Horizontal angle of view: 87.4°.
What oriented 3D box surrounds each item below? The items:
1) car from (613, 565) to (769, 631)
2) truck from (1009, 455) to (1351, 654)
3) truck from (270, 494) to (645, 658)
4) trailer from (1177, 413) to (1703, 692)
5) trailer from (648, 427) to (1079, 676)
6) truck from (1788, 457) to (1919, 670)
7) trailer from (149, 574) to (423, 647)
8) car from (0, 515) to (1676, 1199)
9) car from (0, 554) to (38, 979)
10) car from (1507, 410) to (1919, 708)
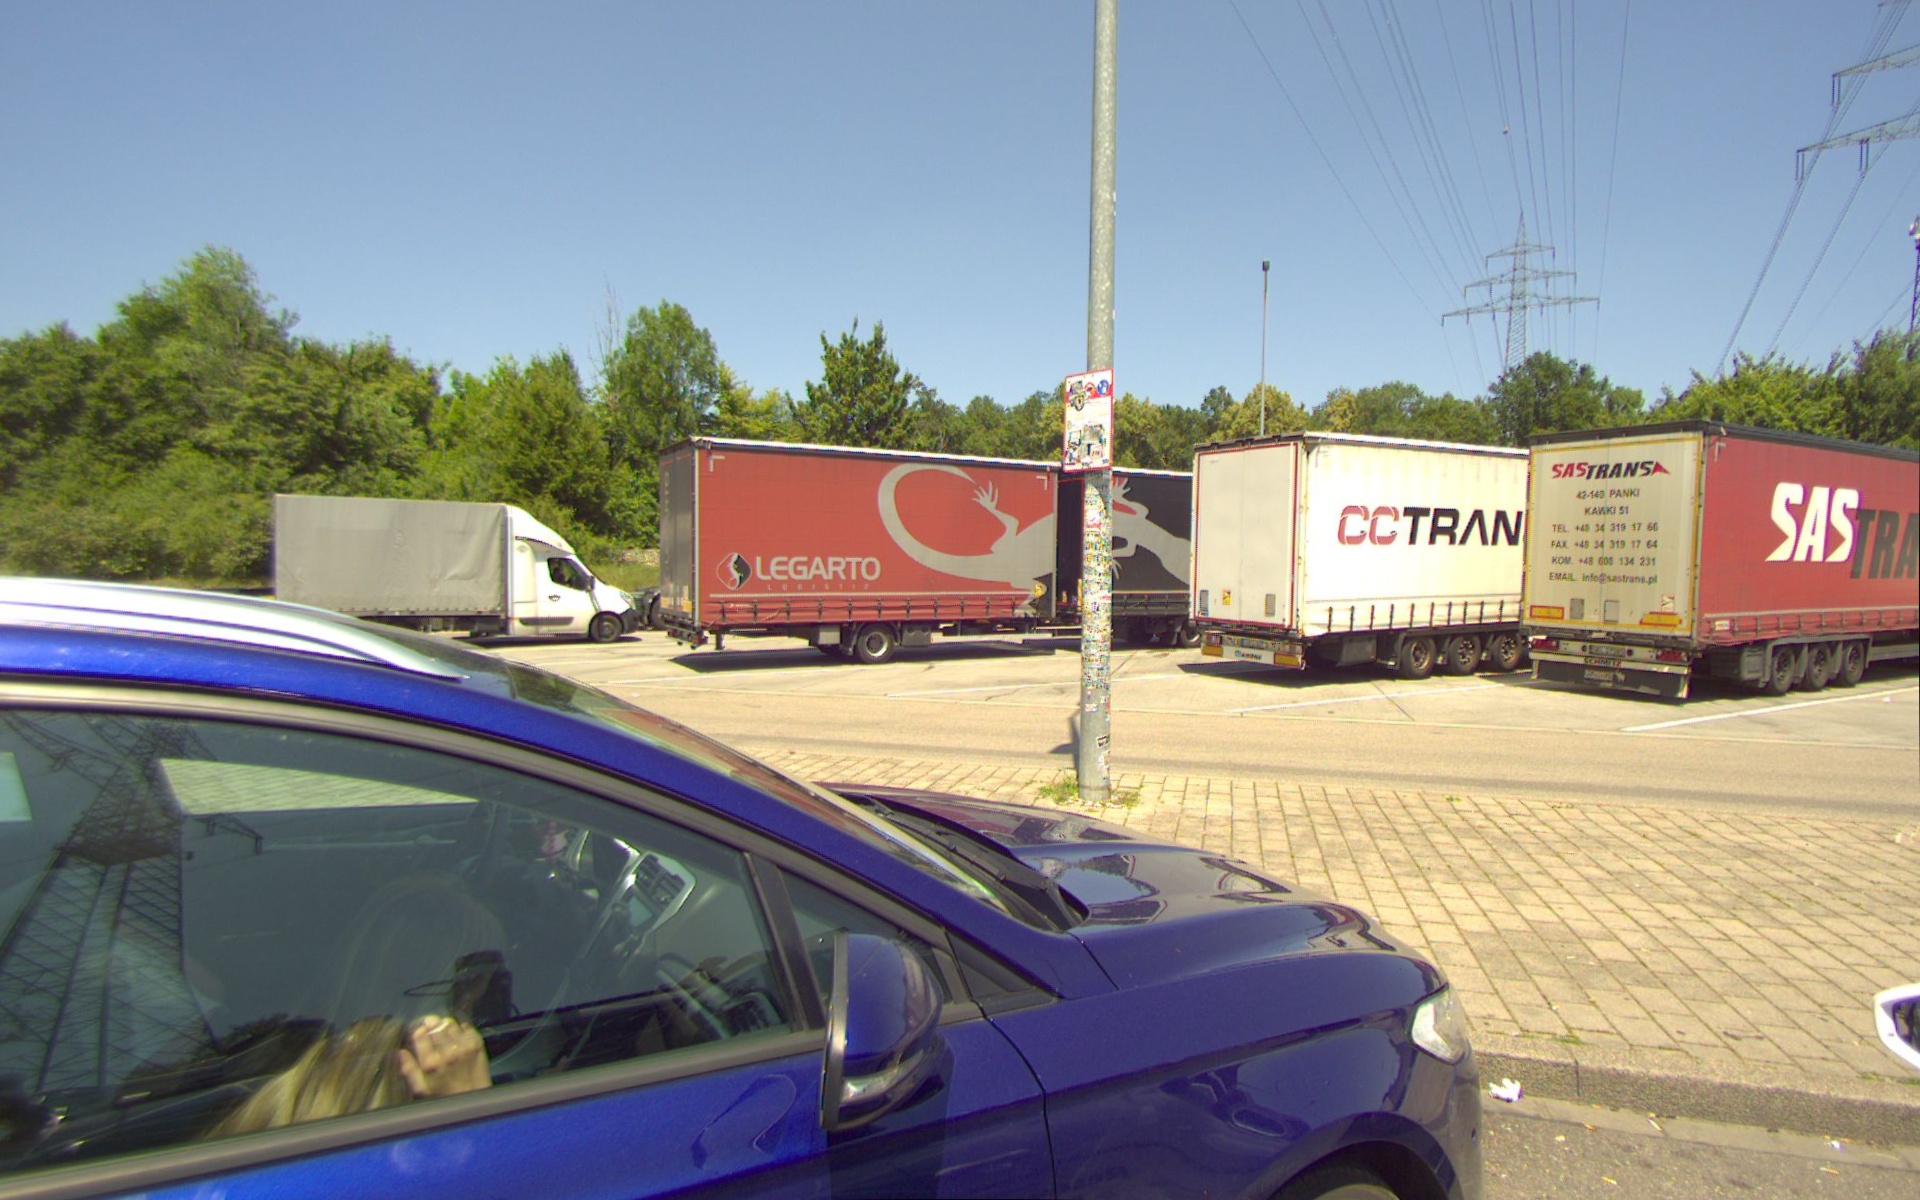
[{"bbox_3d":[-7.619,-0.052,28.509,3.953,1.773,1.902,0,0,-30],"label":"car"},{"bbox_3d":[5.588,-1.081,24.820,8.683,4.248,2.800,-1,2,-30],"label":"truck"},{"bbox_3d":[-11.130,-0.590,22.867,7.219,3.277,2.308,-2,3,-29],"label":"truck"},{"bbox_3d":[10.096,-0.883,20.058,12.786,4.325,2.800,-1,2,-31],"label":"trailer"},{"bbox_3d":[-1.759,-0.932,20.497,8.389,4.248,2.800,-1,2,-30],"label":"trailer"},{"bbox_3d":[21.127,-0.774,21.855,6.163,4.169,2.683,-1,3,-30],"label":"truck"},{"bbox_3d":[-15.965,0.236,24.173,5.332,1.617,1.585,0,0,-30],"label":"trailer"},{"bbox_3d":[-1.002,0.670,1.457,4.380,1.464,1.771,0,0,-32],"label":"car"},{"bbox_3d":[-4.629,0.556,2.109,3.700,1.432,1.595,0,0,-32],"label":"car"},{"bbox_3d":[15.201,-0.693,18.445,12.777,4.169,2.683,-1,3,-30],"label":"car"}]
